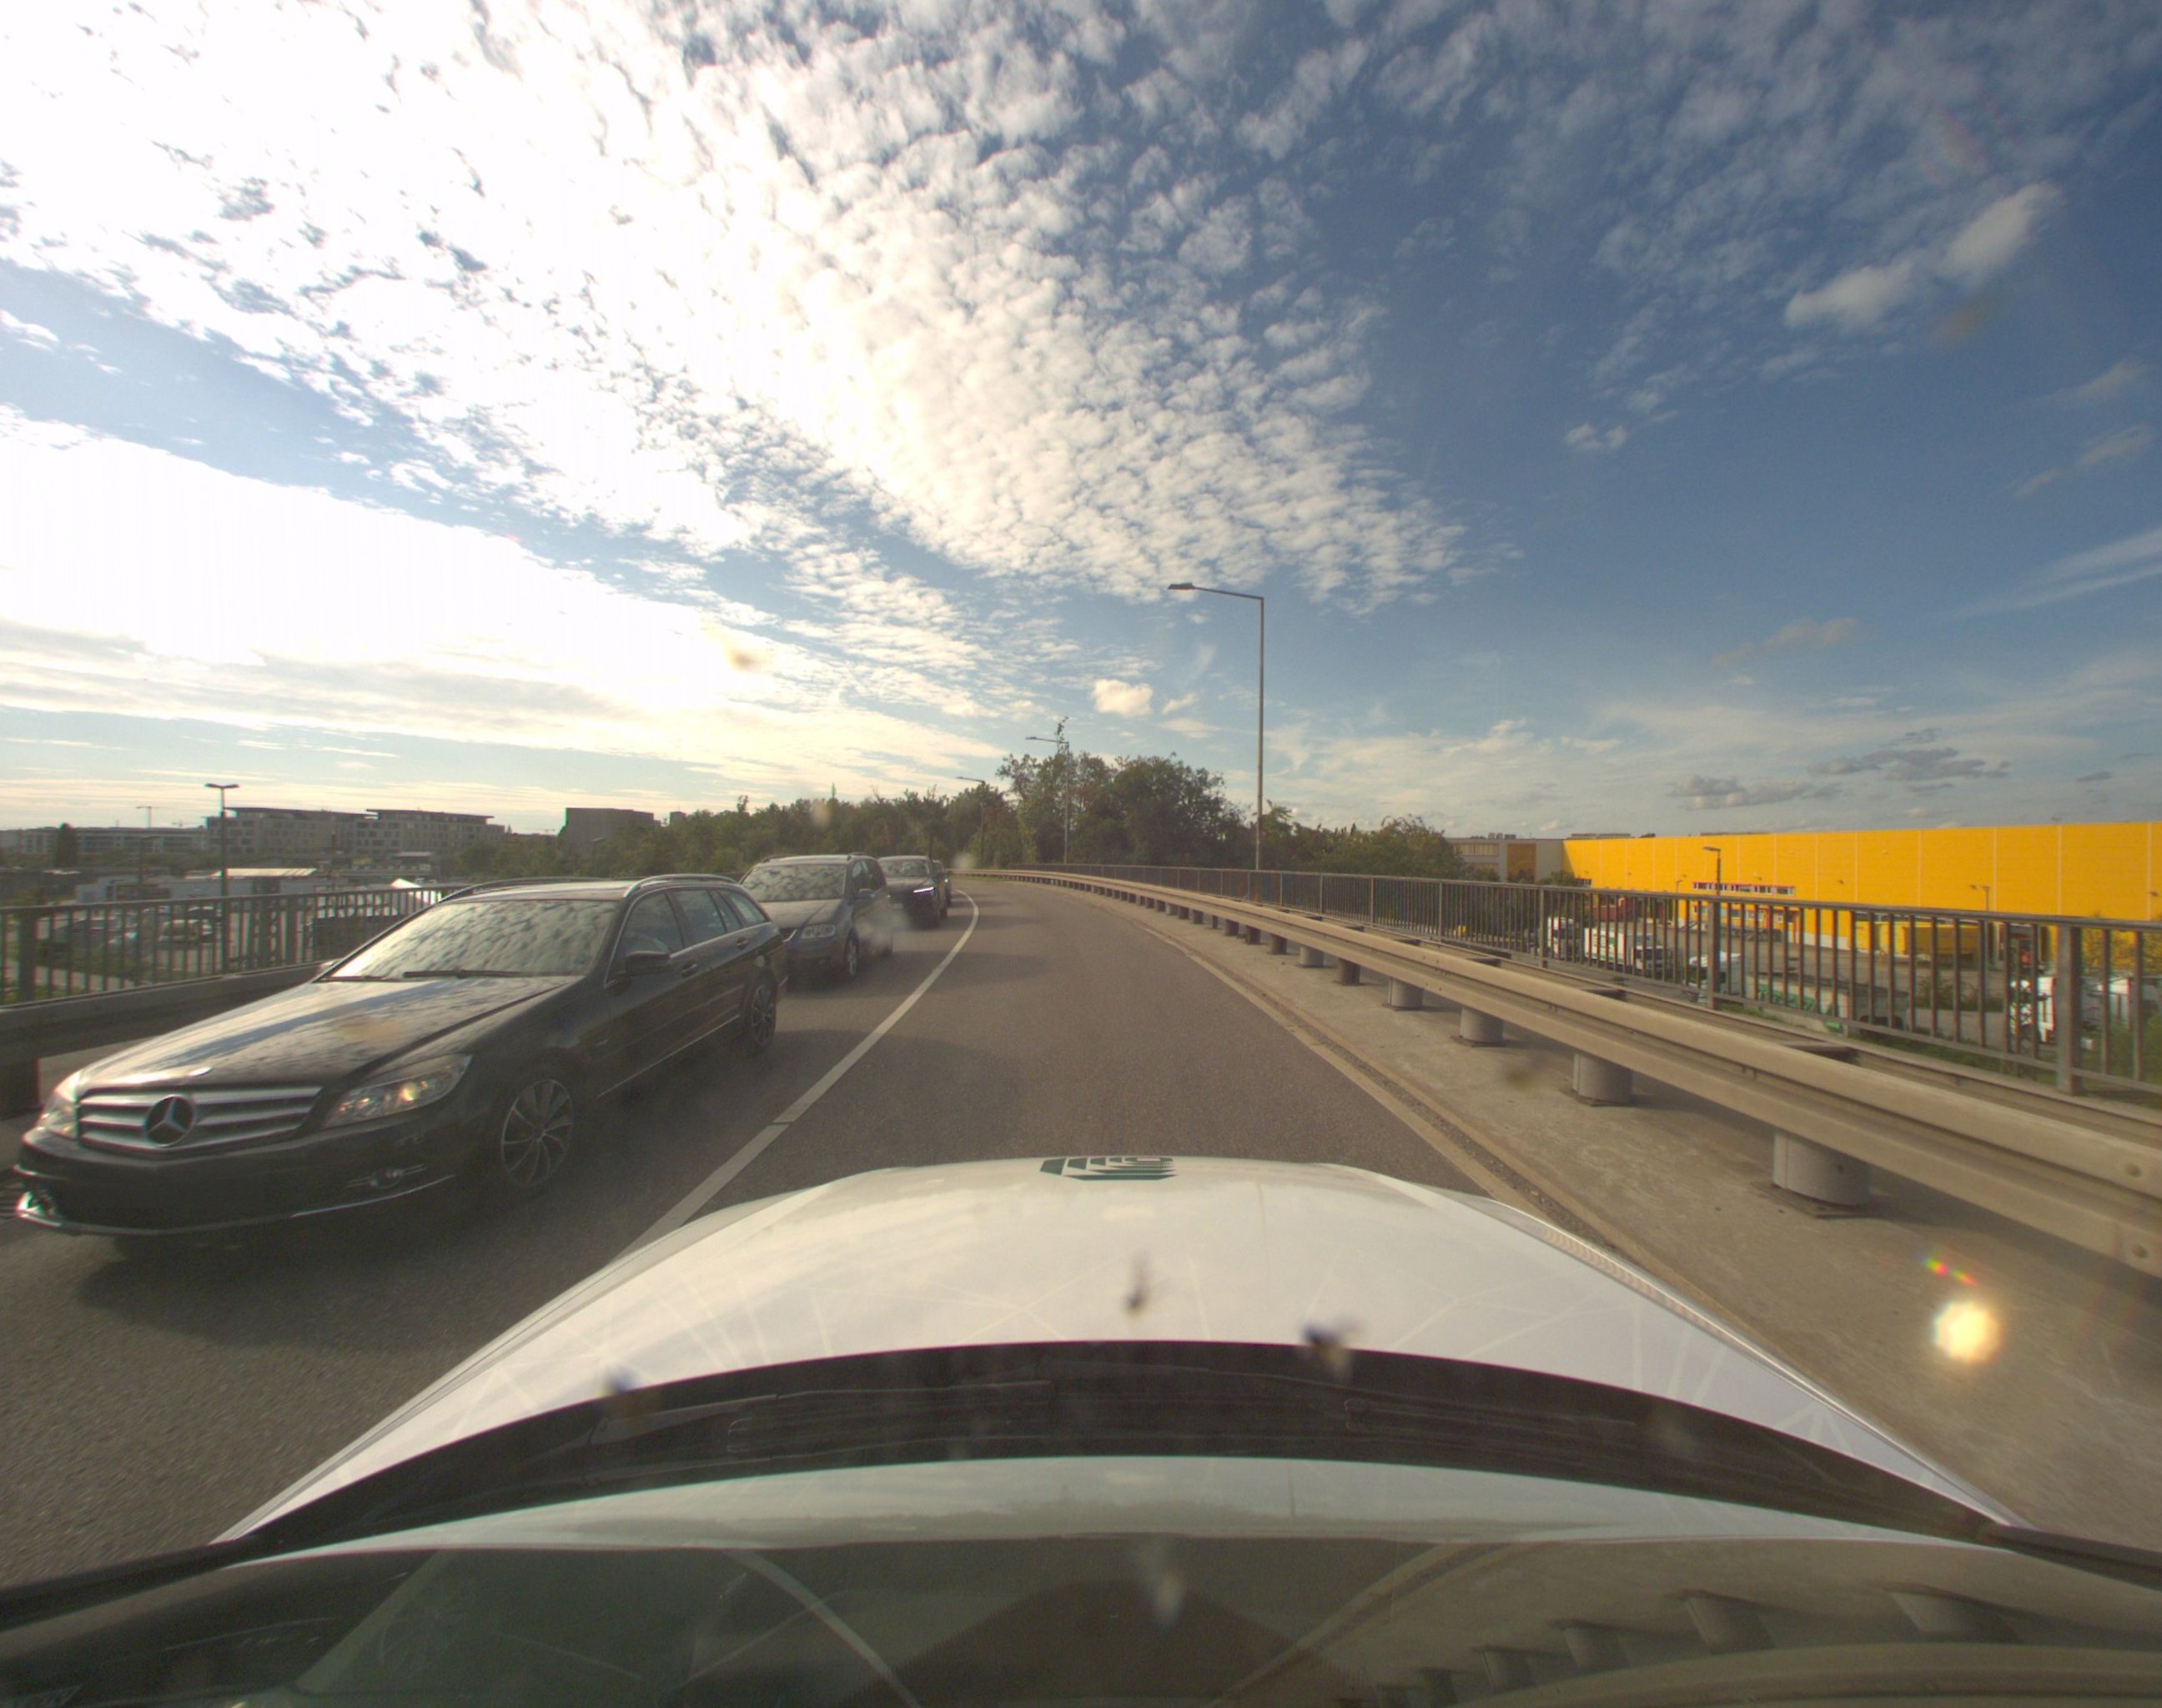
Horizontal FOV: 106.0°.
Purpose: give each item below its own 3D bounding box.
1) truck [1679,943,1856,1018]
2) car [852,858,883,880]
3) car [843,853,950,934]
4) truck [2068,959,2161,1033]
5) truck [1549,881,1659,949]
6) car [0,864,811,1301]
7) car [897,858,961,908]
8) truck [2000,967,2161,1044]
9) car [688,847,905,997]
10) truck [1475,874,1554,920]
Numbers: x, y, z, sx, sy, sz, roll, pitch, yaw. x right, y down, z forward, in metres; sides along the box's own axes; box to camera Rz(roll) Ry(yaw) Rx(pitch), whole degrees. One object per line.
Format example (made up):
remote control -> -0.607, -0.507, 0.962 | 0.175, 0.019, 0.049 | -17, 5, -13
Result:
truck -> 42.756, 7.878, 50.921 | 8.553, 4.091, 2.670 | -1, 1, 4
car -> -18.923, 1.349, 71.892 | 1.909, 1.810, 5.363 | -1, -1, -23
car -> -4.262, 0.847, 19.508 | 1.923, 1.649, 4.578 | -2, 0, -6
truck -> 61.267, 8.252, 45.434 | 2.023, 3.379, 8.621 | -2, 1, 1
truck -> 49.857, 5.609, 78.234 | 3.615, 5.659, 11.284 | -2, -1, 3
car -> -3.385, 0.849, 5.181 | 1.827, 1.465, 4.516 | -2, 0, -1
car -> -5.112, 0.940, 27.796 | 1.797, 1.520, 3.998 | -2, 0, -6
truck -> 56.245, 8.351, 45.186 | 7.177, 3.617, 2.670 | -1, 1, 4
car -> -3.714, 0.781, 11.472 | 1.678, 1.649, 4.293 | -2, 0, -3
truck -> 50.339, 4.860, 95.084 | 3.615, 4.855, 11.284 | -2, -1, 3
